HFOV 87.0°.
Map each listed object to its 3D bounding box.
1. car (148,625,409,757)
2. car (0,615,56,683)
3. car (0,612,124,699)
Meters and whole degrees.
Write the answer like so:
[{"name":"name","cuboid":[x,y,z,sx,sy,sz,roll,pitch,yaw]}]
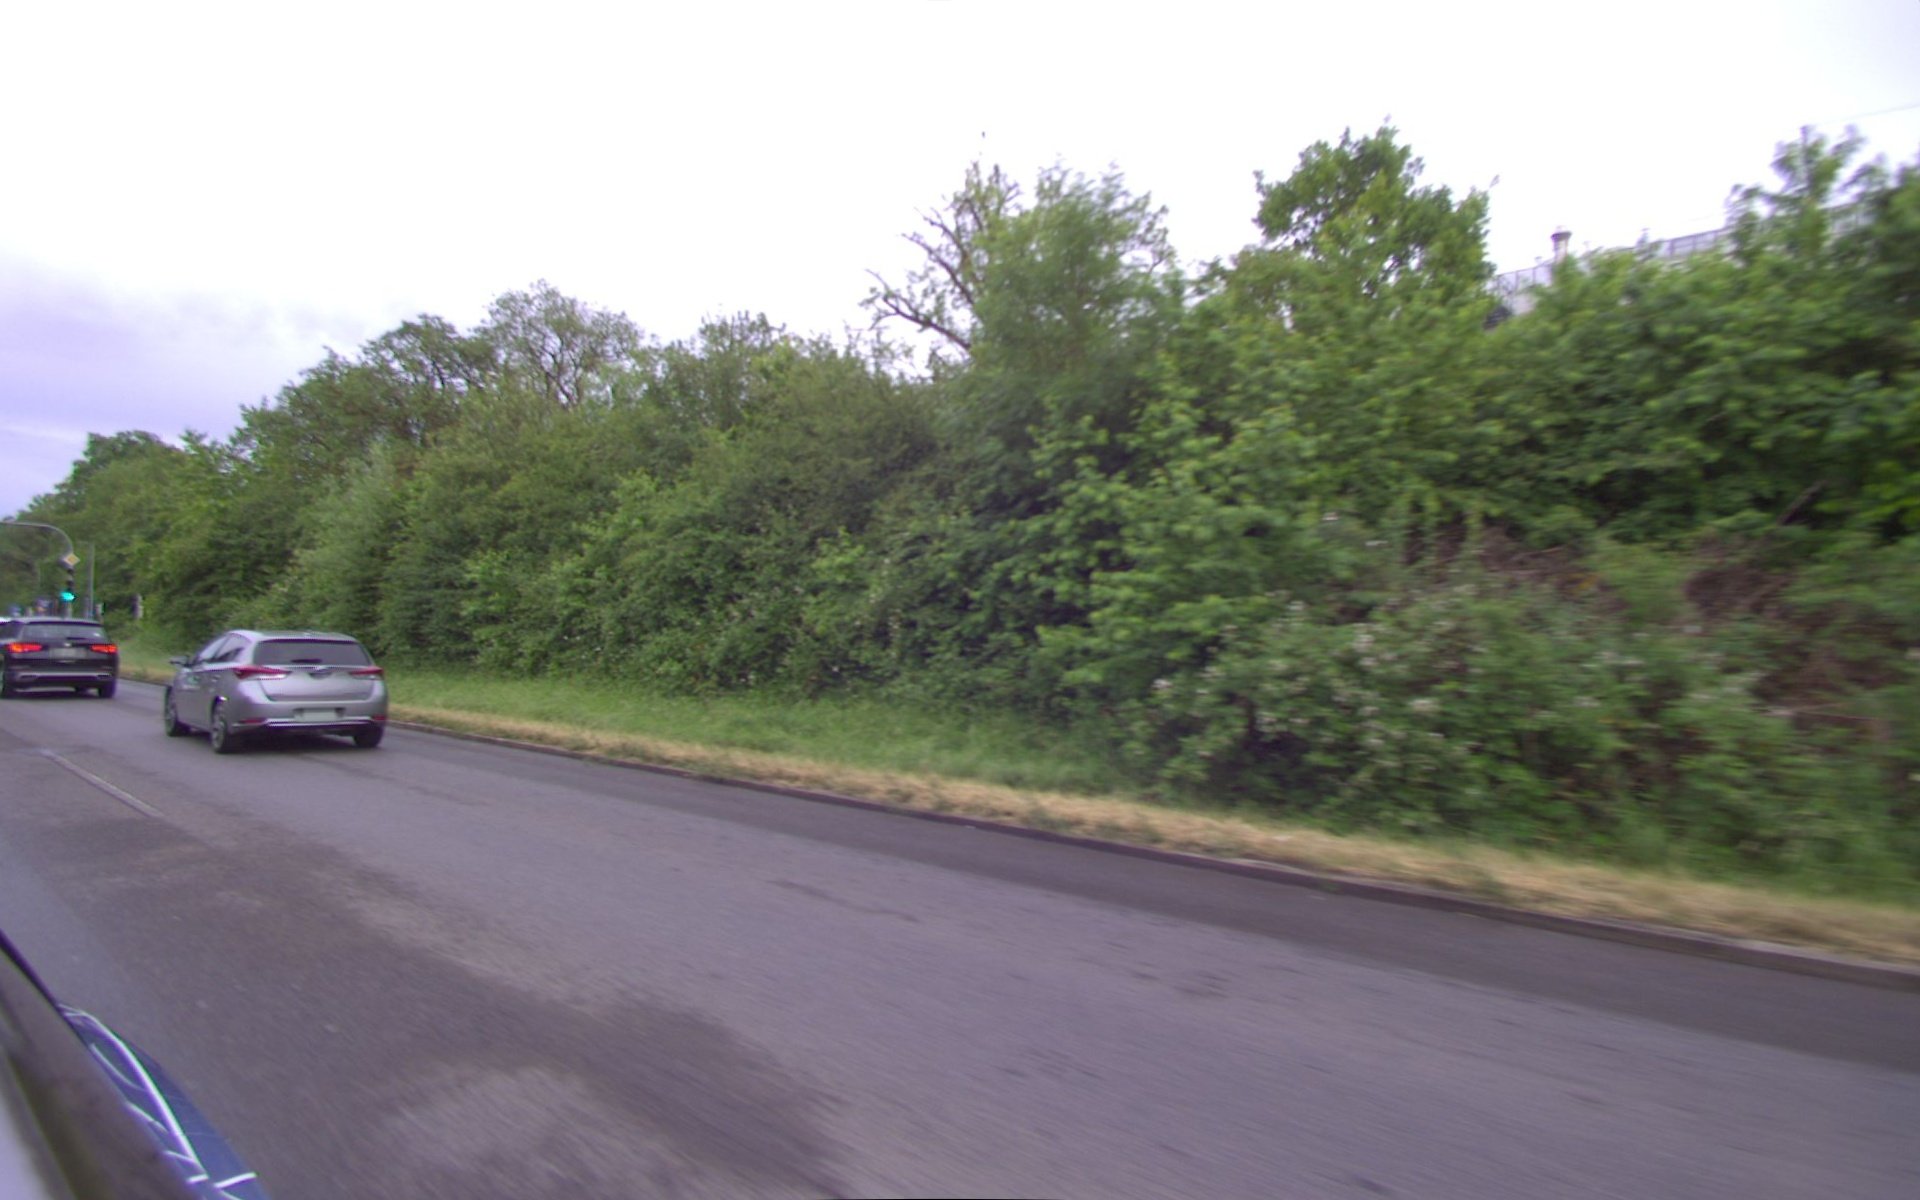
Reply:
[{"name":"car","cuboid":[-8.946,1.069,13.159,4.176,1.443,1.783,-1,-3,42]},{"name":"car","cuboid":[-24.907,1.213,25.993,4.267,1.647,1.875,-1,-3,40]},{"name":"car","cuboid":[-18.696,1.093,20.639,4.278,1.606,1.715,-1,-3,40]}]
